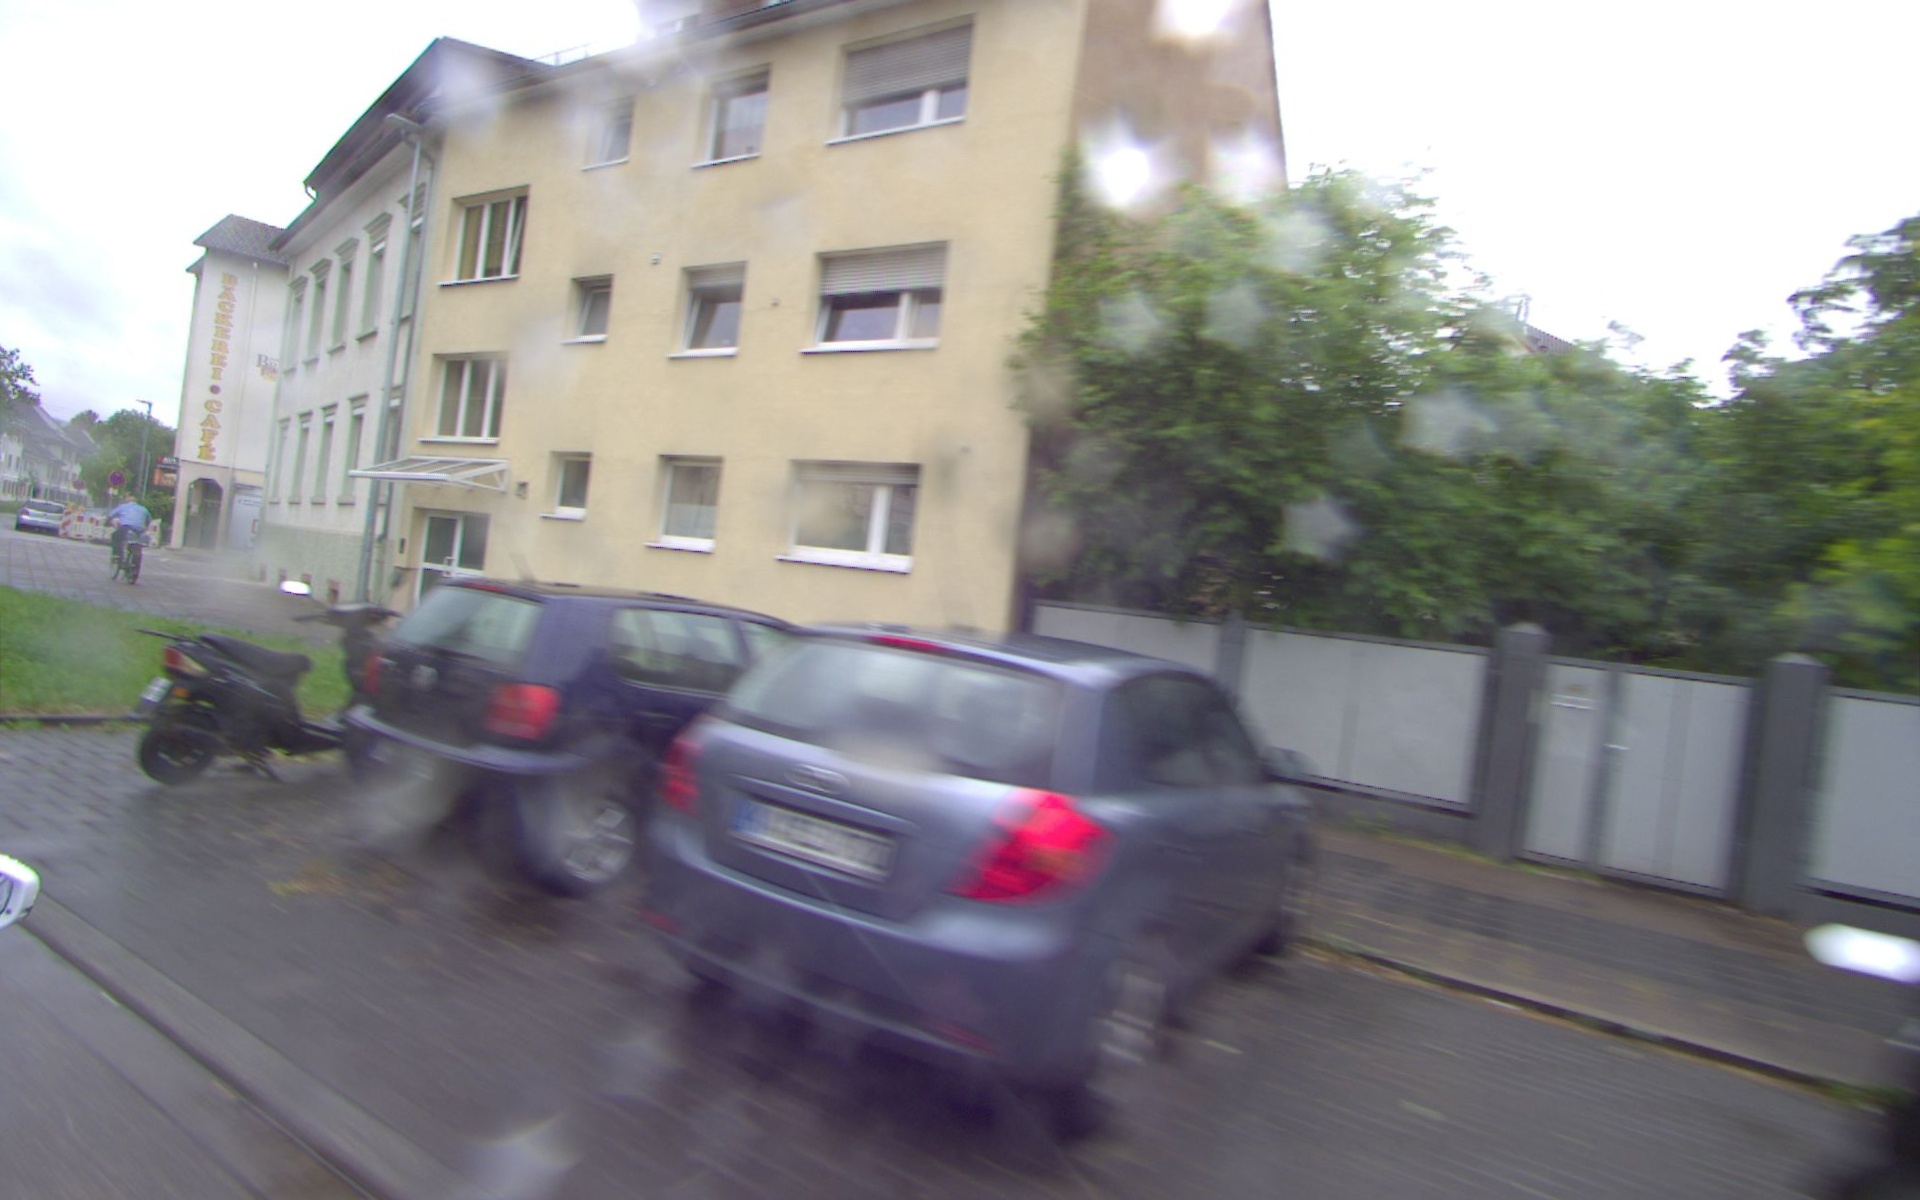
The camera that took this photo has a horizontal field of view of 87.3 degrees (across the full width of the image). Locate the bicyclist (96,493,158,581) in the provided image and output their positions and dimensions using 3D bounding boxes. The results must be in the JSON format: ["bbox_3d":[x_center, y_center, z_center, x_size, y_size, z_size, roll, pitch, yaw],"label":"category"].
[{"bbox_3d":[-16.504,-1.248,19.931,0.704,1.601,0.639,8,0,35],"label":"bicyclist"}]

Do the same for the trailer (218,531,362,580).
[{"bbox_3d":[-26.821,-1.738,40.458,4.481,1.246,1.813,9,-2,-26],"label":"trailer"}]

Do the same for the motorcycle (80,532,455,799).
[{"bbox_3d":[-4.080,0.404,6.067,0.683,1.340,1.593,8,-1,30],"label":"motorcycle"}]

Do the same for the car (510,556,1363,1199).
[{"bbox_3d":[0.411,0.902,4.650,1.902,1.471,4.061,9,-1,31],"label":"car"}]

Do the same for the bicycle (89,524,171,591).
[{"bbox_3d":[-16.334,-0.850,19.787,1.941,1.072,0.673,7,-1,35],"label":"bicycle"}]

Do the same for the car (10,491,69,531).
[{"bbox_3d":[-41.257,-3.986,45.070,4.123,1.450,1.631,6,-2,45],"label":"car"}]

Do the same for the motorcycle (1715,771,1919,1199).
[{"bbox_3d":[2.048,1.119,1.917,0.722,1.389,1.766,7,-2,32],"label":"motorcycle"}]

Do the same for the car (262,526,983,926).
[{"bbox_3d":[-1.648,0.660,6.115,1.771,1.471,3.759,9,-1,31],"label":"car"}]
